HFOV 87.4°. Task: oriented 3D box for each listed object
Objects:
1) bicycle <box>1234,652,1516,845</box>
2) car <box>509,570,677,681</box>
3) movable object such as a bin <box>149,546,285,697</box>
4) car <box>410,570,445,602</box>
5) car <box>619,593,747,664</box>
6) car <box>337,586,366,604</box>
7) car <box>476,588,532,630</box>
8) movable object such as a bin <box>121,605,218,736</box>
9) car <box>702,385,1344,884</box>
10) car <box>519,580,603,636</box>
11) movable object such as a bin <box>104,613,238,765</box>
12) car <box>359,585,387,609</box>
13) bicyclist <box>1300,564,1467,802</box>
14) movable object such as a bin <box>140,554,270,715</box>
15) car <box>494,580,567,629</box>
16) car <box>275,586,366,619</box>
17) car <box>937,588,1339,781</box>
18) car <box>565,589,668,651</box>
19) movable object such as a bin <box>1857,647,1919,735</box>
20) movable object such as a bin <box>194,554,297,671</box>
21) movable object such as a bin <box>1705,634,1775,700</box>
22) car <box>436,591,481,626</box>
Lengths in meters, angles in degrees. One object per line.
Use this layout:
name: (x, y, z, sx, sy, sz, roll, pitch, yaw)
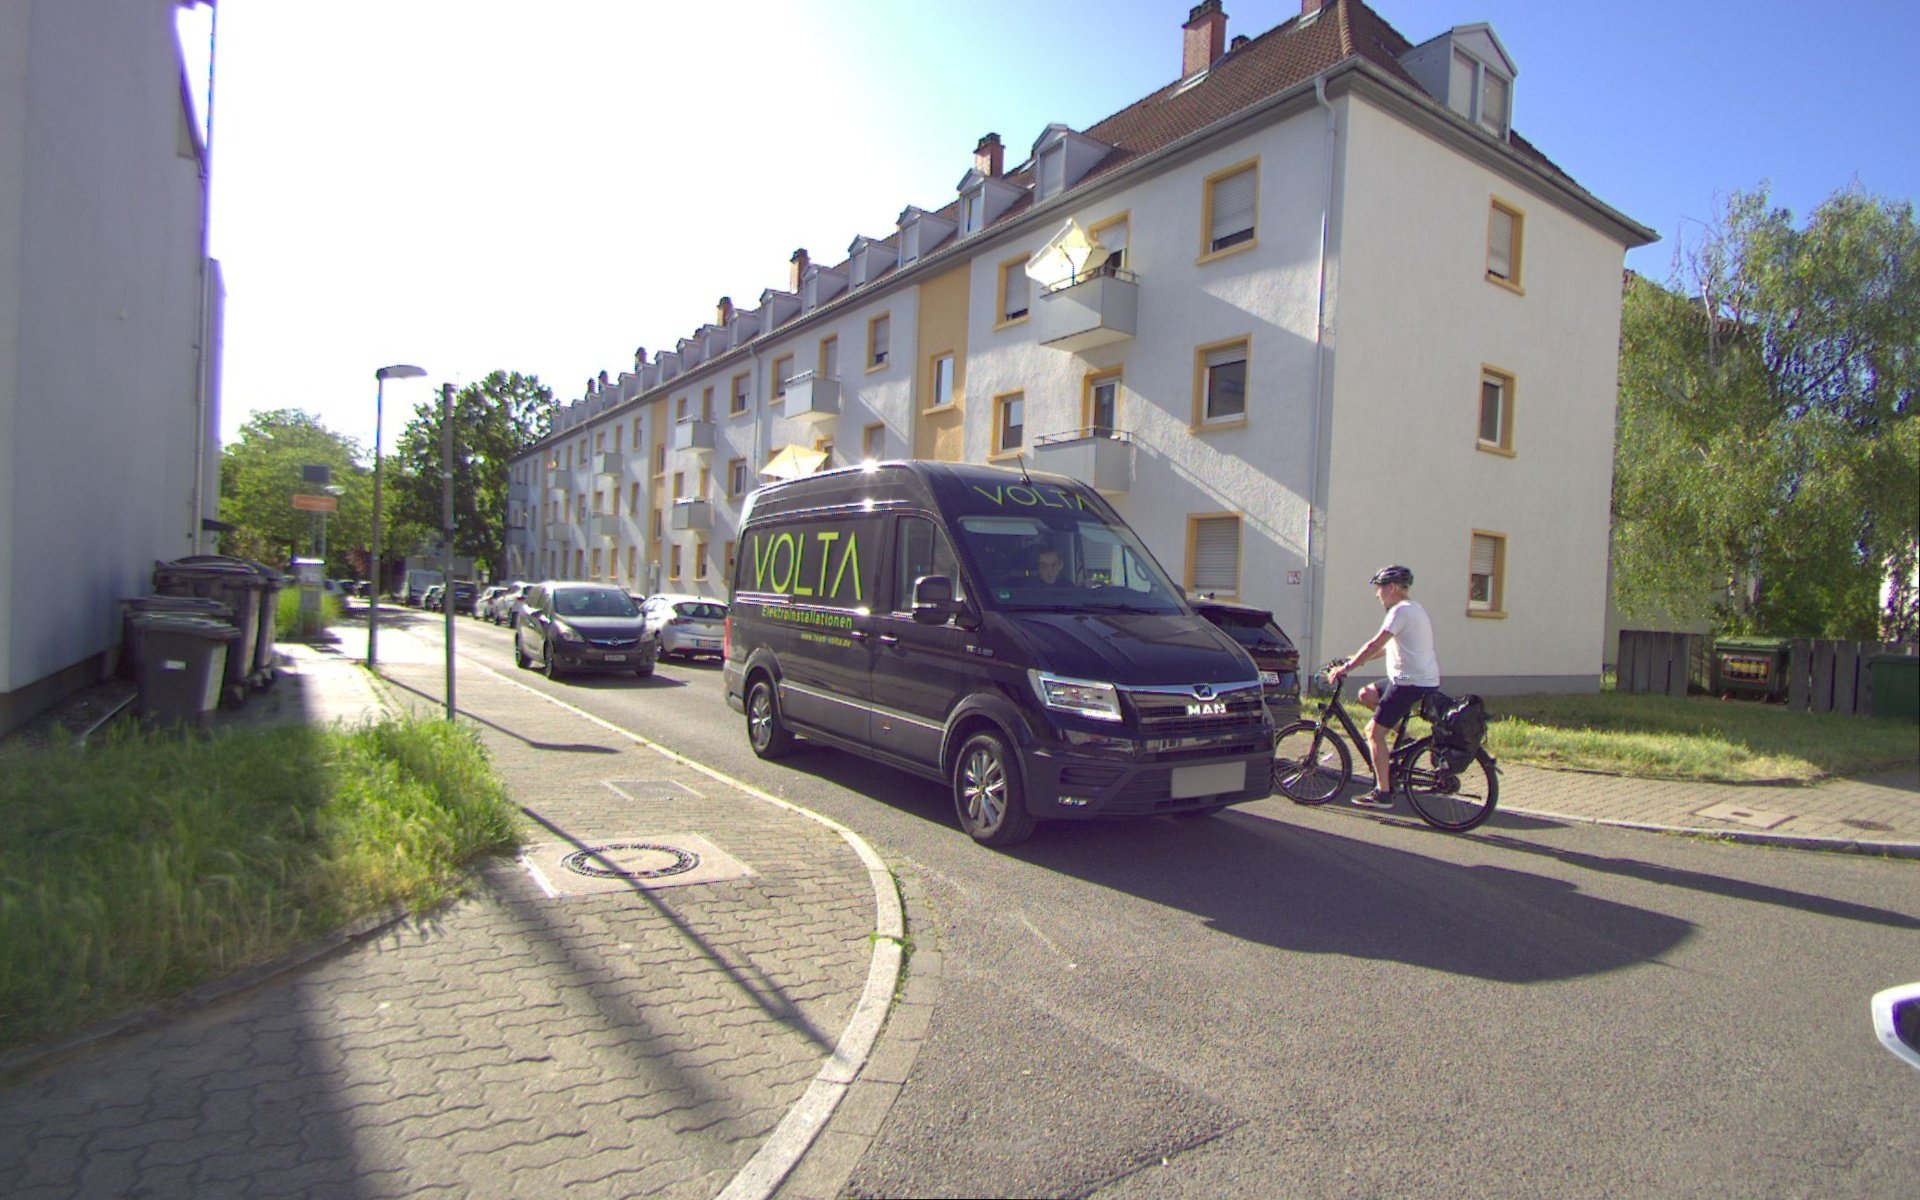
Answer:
bicycle: (2.982, 1.013, 7.377, 0.624, 1.130, 1.795, 4, -1, -39)
car: (-6.565, 0.442, 17.715, 1.846, 1.717, 3.962, 2, -2, -34)
movable object such as a bin: (-8.010, 0.227, 10.901, 1.033, 1.530, 1.132, 2, 0, -32)
car: (-34.650, -0.902, 65.322, 1.765, 1.933, 3.538, 2, -2, -31)
car: (-6.307, 0.626, 22.645, 1.766, 1.401, 3.536, 5, -3, -32)
car: (-59.899, -0.481, 98.854, 1.983, 1.726, 3.955, 2, -2, -39)
car: (-19.619, 0.382, 43.119, 1.765, 1.679, 3.538, 2, -2, -31)
movable object such as a bin: (-6.121, 0.535, 7.797, 0.527, 0.962, 0.495, 2, 0, -35)
car: (-0.072, 0.214, 8.200, 1.980, 2.578, 5.903, 2, -1, -34)
car: (-13.039, 0.280, 32.749, 1.767, 1.679, 3.533, 2, -2, -34)
movable object such as a bin: (-5.664, 0.617, 7.246, 0.708, 1.005, 0.608, 2, 1, -36)
car: (-52.645, -0.248, 90.148, 1.975, 2.040, 3.971, 2, -2, -28)
bicyclist: (3.067, 0.565, 7.298, 0.593, 1.599, 0.896, 3, -1, -40)
movable object such as a bin: (-7.142, 0.312, 9.553, 0.838, 1.419, 1.056, 2, 0, -31)
car: (-15.860, 0.176, 37.013, 1.767, 1.679, 3.533, 2, -2, -34)
car: (-26.733, 0.113, 42.084, 3.075, 1.253, 1.390, 2, -2, -29)
car: (1.706, 0.774, 11.136, 1.702, 1.685, 4.460, 4, -2, -34)
car: (-9.461, 0.547, 27.514, 1.767, 1.545, 3.533, 2, -2, -34)
movable object such as a bin: (16.143, 1.542, 16.999, 0.759, 1.399, 1.213, 3, 1, -32)
movable object such as a bin: (-9.927, 0.169, 14.016, 1.033, 1.530, 1.215, 2, 0, -32)
movable object such as a bin: (18.006, 1.537, 23.196, 0.993, 1.454, 1.053, 2, -1, -37)
car: (-26.040, 0.443, 52.102, 1.765, 1.679, 3.538, 2, -2, -31)
